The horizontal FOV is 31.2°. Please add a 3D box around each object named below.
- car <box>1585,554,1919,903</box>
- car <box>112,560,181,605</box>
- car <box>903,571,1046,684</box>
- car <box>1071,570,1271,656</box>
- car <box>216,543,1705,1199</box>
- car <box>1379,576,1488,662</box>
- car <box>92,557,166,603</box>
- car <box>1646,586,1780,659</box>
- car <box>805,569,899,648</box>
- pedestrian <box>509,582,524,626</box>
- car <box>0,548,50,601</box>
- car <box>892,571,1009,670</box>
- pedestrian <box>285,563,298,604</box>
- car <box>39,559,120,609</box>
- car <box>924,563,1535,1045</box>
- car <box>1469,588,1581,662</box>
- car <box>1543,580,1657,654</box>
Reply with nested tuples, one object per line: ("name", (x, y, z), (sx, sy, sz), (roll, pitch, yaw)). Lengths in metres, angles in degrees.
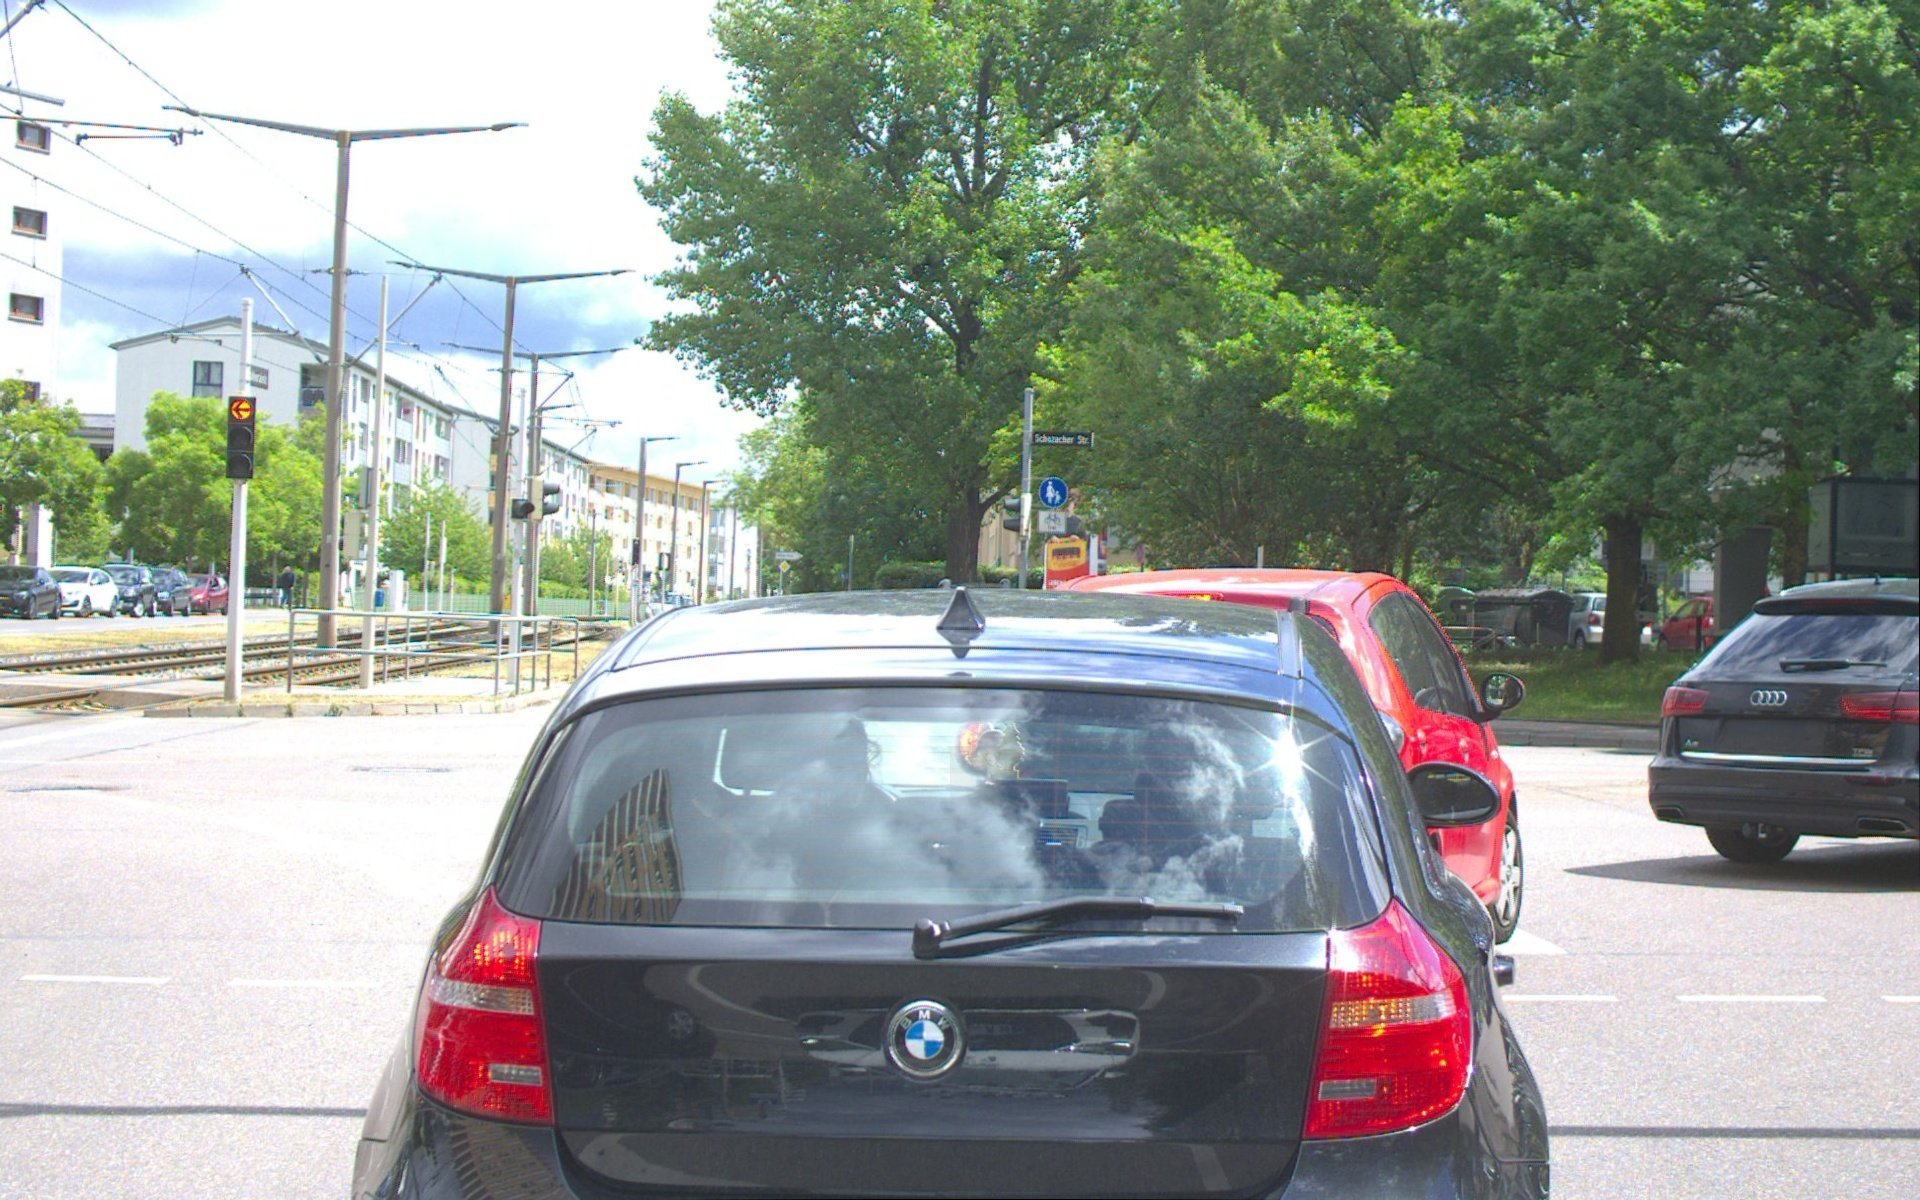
("car", (5.384, 0.574, 17.458), (4.508, 1.548, 1.999), (0, 1, -42))
("car", (-26.521, -0.586, 112.157), (1.760, 1.390, 4.001), (1, 1, -7))
("car", (0.211, 0.418, 54.215), (2.152, 1.678, 4.000), (1, 0, 0))
("car", (4.641, 0.280, 75.721), (3.986, 1.817, 1.779), (1, 1, -22))
("car", (-0.023, 0.661, 6.086), (1.752, 1.482, 4.000), (1, 1, 0))
("car", (10.537, 0.402, 76.719), (1.630, 1.804, 4.033), (1, 1, -3))
("car", (-25.980, -0.635, 107.590), (1.760, 1.390, 4.001), (1, 1, -7))
("car", (17.343, 0.500, 79.369), (1.730, 1.589, 4.001), (1, 1, -8))
("car", (-2.393, 0.162, 77.108), (1.993, 1.678, 4.000), (1, 1, 0))
("pedestrian", (-16.839, 0.157, 130.484), (0.478, 1.631, 0.454), (1, 1, -1))
("car", (-25.950, -0.706, 93.500), (1.760, 1.390, 4.001), (1, 1, -7))
("car", (-0.180, 0.369, 61.664), (1.993, 1.678, 4.000), (1, 0, 0))
("pedestrian", (-27.008, -0.655, 138.897), (0.452, 1.631, 0.480), (1, 1, -3))
("car", (-25.843, -0.480, 101.009), (1.760, 1.390, 4.001), (1, 1, -7))
("car", (1.078, 0.606, 12.255), (1.543, 1.436, 3.193), (1, 1, 16))
("car", (12.745, 0.549, 77.708), (1.630, 1.567, 4.033), (1, 1, -3))
("car", (14.666, 0.363, 78.943), (1.630, 1.589, 4.001), (1, 1, -3))
